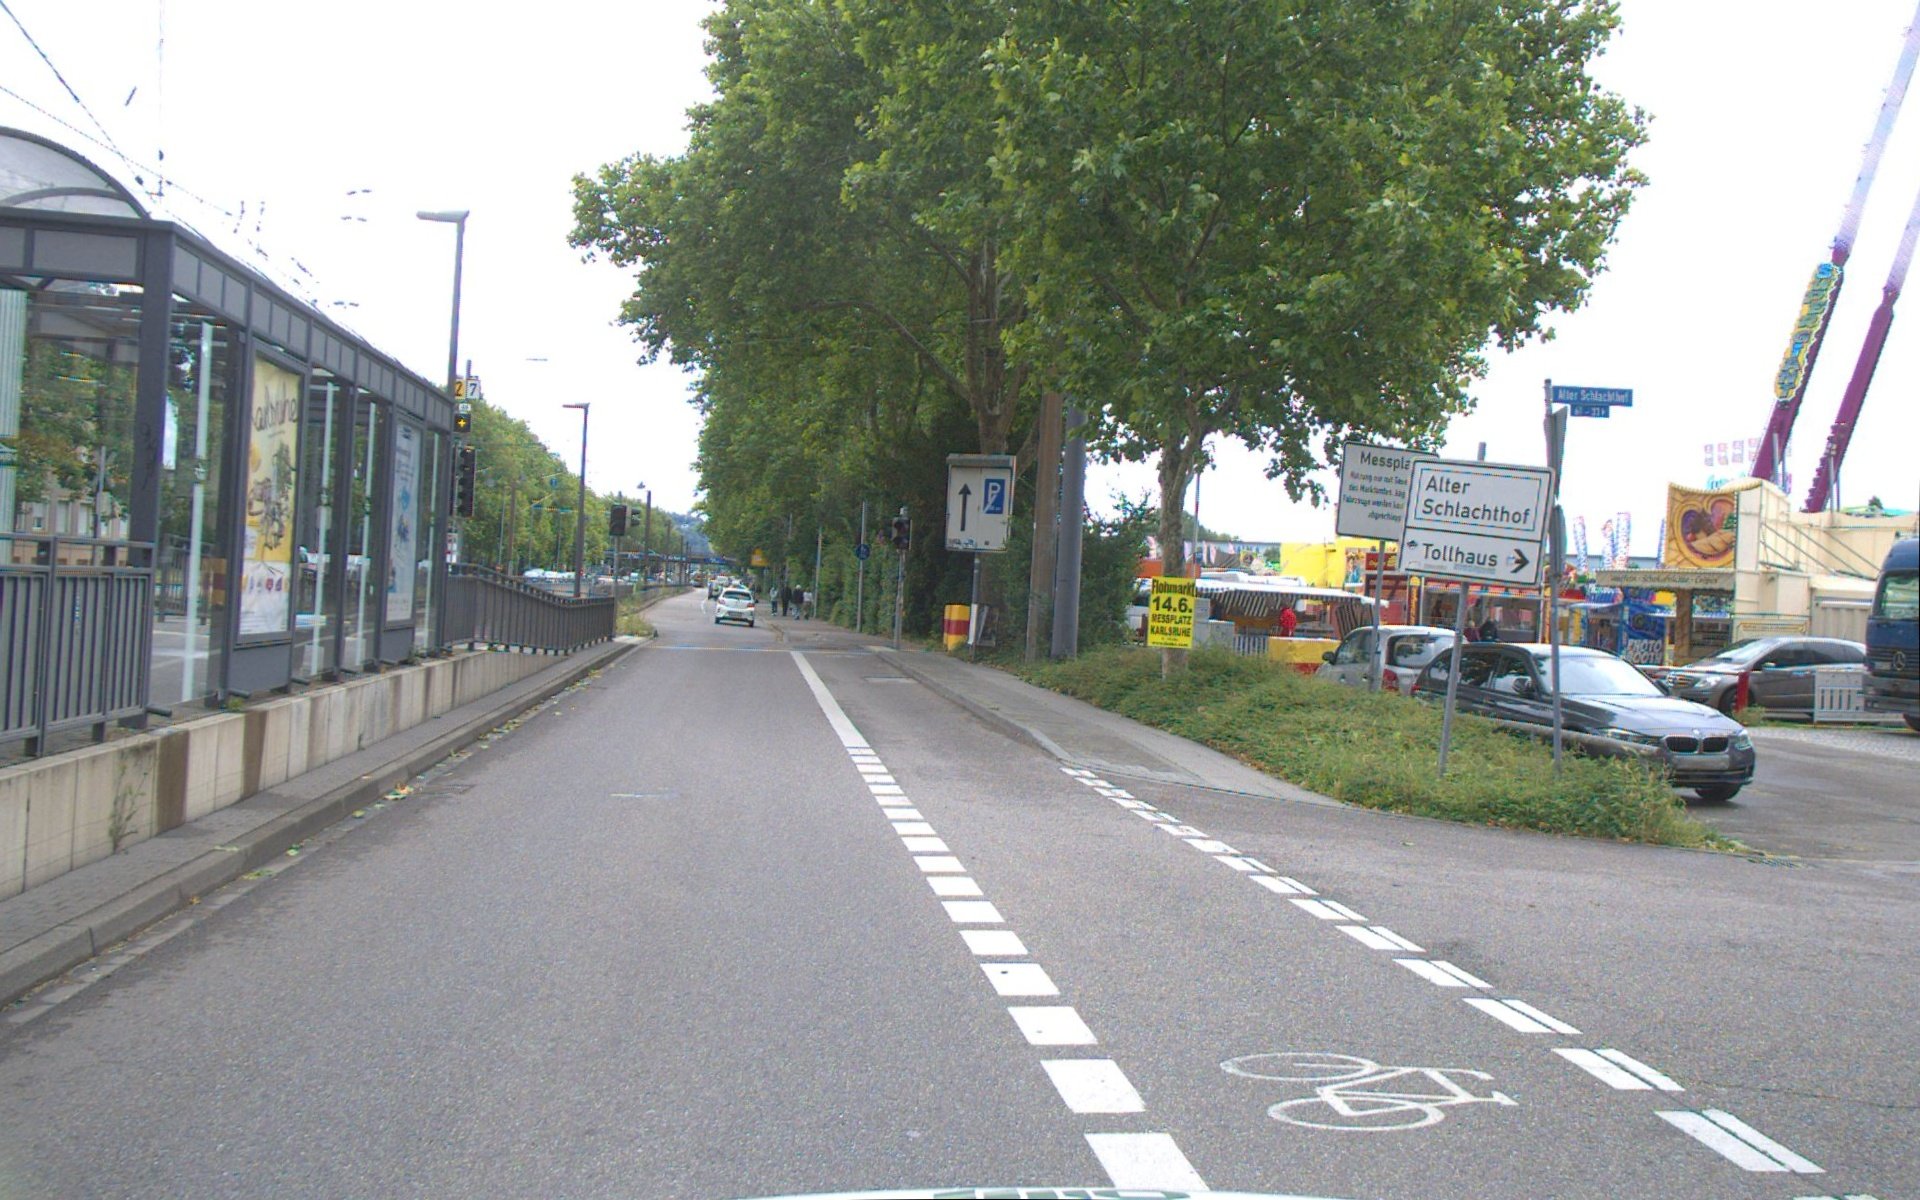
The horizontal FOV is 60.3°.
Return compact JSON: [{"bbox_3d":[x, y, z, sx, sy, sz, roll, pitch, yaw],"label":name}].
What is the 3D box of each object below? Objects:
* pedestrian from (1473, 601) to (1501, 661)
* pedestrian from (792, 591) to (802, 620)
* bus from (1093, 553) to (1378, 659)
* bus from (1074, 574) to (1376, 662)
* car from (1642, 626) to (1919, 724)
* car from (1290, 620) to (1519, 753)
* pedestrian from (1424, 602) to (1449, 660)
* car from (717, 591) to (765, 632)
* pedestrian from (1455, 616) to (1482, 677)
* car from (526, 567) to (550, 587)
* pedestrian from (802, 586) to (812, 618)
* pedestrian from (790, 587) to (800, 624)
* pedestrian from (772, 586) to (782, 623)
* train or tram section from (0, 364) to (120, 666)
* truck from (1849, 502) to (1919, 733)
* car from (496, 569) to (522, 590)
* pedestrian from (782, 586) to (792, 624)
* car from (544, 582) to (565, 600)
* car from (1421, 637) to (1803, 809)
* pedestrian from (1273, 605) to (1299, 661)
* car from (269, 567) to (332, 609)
[{"bbox_3d":[15.489,0.909,48.622,0.515,1.716,0.490,3,-1,-24],"label":"pedestrian"},{"bbox_3d":[-8.319,0.296,84.487,0.388,1.469,0.562,3,-1,-8],"label":"pedestrian"},{"bbox_3d":[9.128,0.228,54.822,9.111,3.011,1.995,3,-1,-11],"label":"bus"},{"bbox_3d":[8.271,0.563,51.634,9.111,2.266,1.995,3,-1,-11],"label":"bus"},{"bbox_3d":[15.815,1.429,31.927,4.490,1.603,1.996,3,-1,-10],"label":"car"},{"bbox_3d":[6.263,1.165,23.770,1.827,1.622,3.995,3,0,-6],"label":"car"},{"bbox_3d":[14.589,0.946,50.680,0.484,1.716,0.522,3,-1,-11],"label":"pedestrian"},{"bbox_3d":[-9.020,0.439,68.334,1.806,1.579,3.994,2,0,-7],"label":"car"},{"bbox_3d":[14.747,1.344,47.970,0.515,1.716,0.490,3,-1,-24],"label":"pedestrian"},{"bbox_3d":[-40.733,-2.214,159.738,1.958,1.825,3.989,3,0,-12],"label":"car"},{"bbox_3d":[-7.815,0.102,84.564,0.388,1.613,0.537,3,-1,-7],"label":"pedestrian"},{"bbox_3d":[-9.107,0.304,91.320,0.387,2.049,0.403,3,-1,7],"label":"pedestrian"},{"bbox_3d":[-10.109,0.249,91.219,0.387,2.049,0.403,3,-1,7],"label":"pedestrian"},{"bbox_3d":[-14.700,-1.263,20.098,3.121,4.252,14.708,3,0,-8],"label":"train or tram section"},{"bbox_3d":[20.034,0.493,28.818,8.041,3.889,2.594,3,-1,-10],"label":"truck"},{"bbox_3d":[-41.939,-1.877,153.948,1.958,1.825,3.989,3,0,-12],"label":"car"},{"bbox_3d":[-9.574,0.280,91.356,0.387,2.049,0.403,3,-1,7],"label":"pedestrian"},{"bbox_3d":[-43.411,-0.997,177.084,1.958,1.825,3.989,3,0,-12],"label":"car"},{"bbox_3d":[6.703,1.212,17.515,1.830,1.455,3.988,3,0,-12],"label":"car"},{"bbox_3d":[8.926,0.903,45.286,0.484,1.488,0.522,3,-1,-11],"label":"pedestrian"},{"bbox_3d":[-30.783,-0.545,77.291,1.958,1.825,3.989,3,0,-12],"label":"car"}]
